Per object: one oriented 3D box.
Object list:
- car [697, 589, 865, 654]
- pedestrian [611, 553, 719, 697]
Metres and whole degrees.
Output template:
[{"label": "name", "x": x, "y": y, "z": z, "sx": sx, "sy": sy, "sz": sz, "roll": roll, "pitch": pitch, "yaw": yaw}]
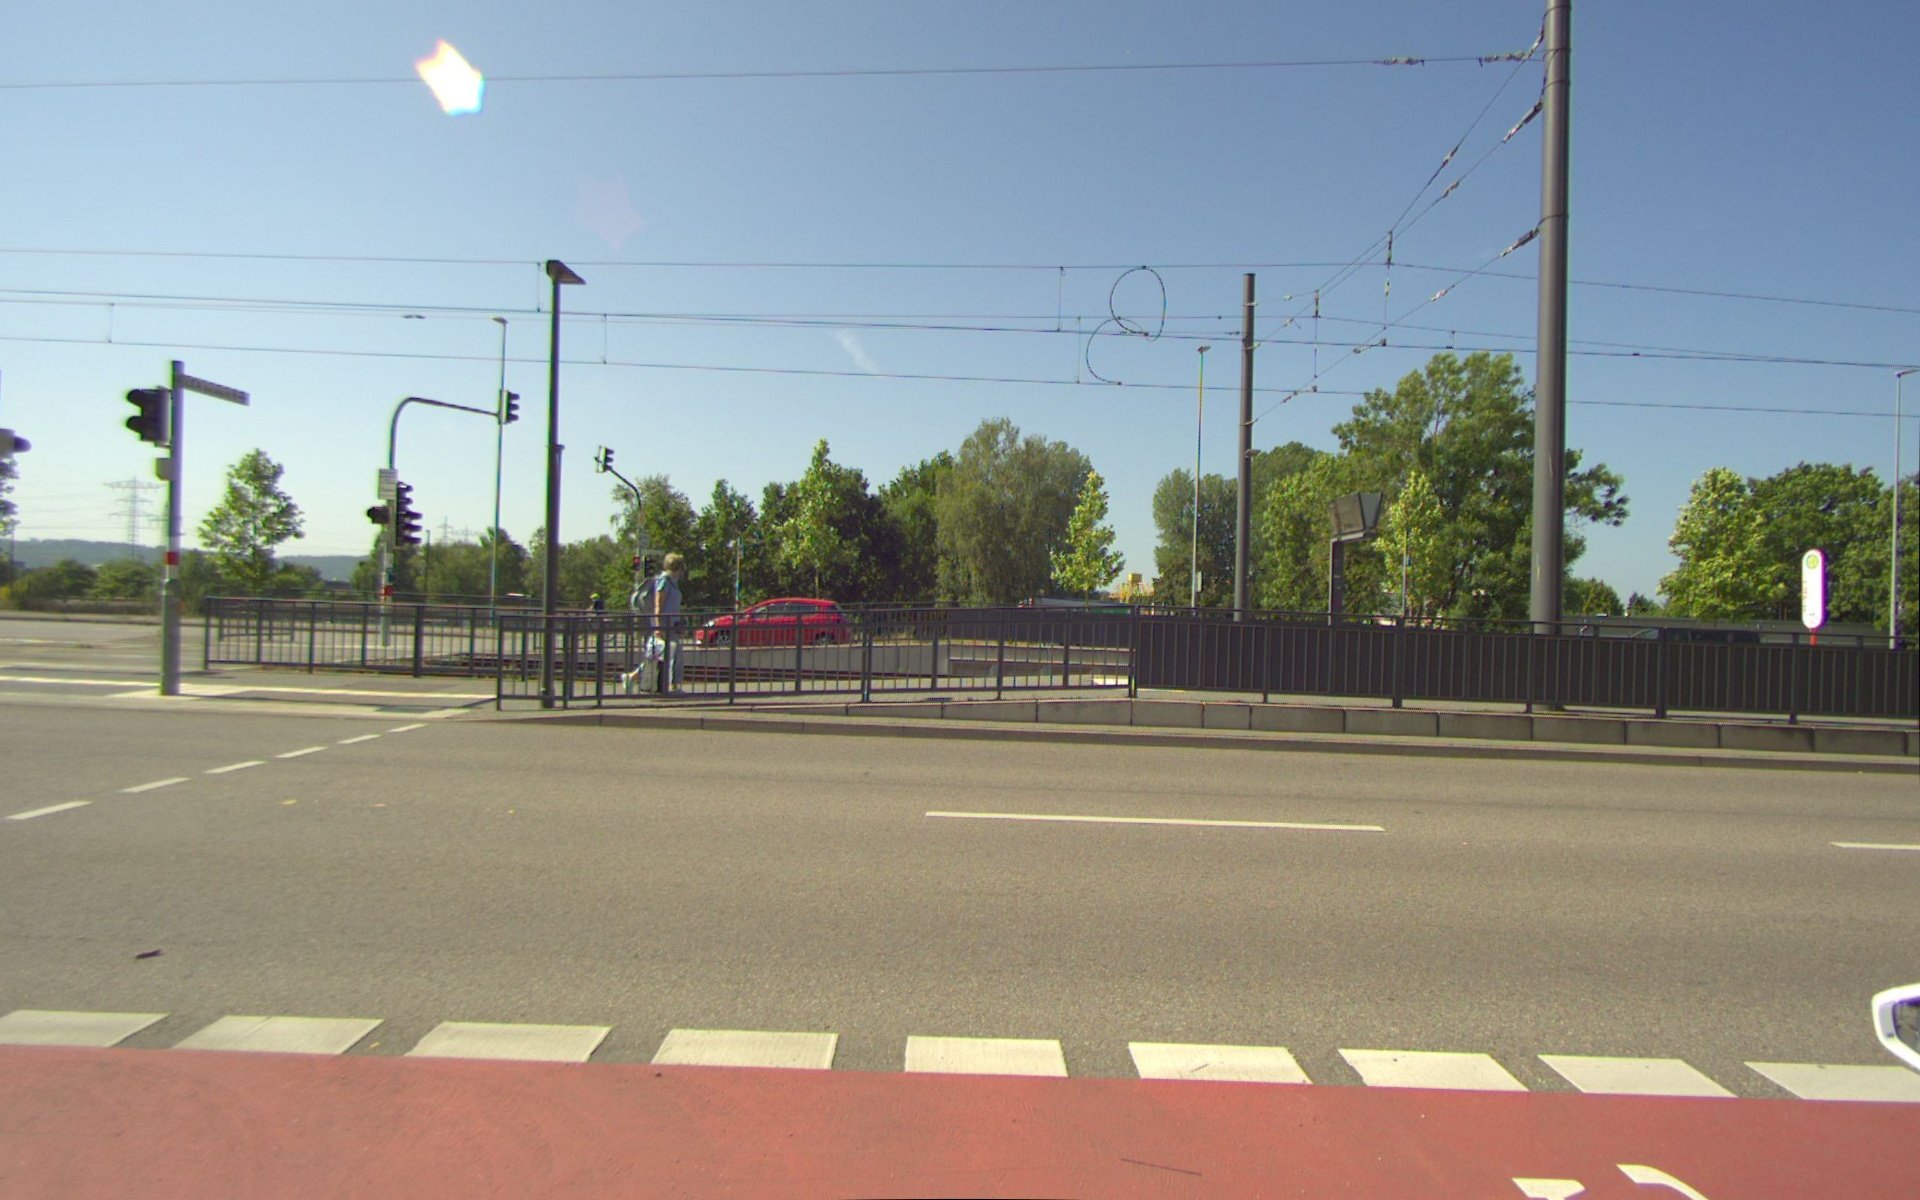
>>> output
[{"label": "car", "x": -4.464, "y": 0.524, "z": 25.491, "sx": 3.922, "sy": 1.464, "sz": 1.746, "roll": 2, "pitch": 0, "yaw": -1}, {"label": "pedestrian", "x": -3.312, "y": 0.258, "z": 11.339, "sx": 0.759, "sy": 1.531, "sz": 1.008, "roll": 2, "pitch": 1, "yaw": 12}]
